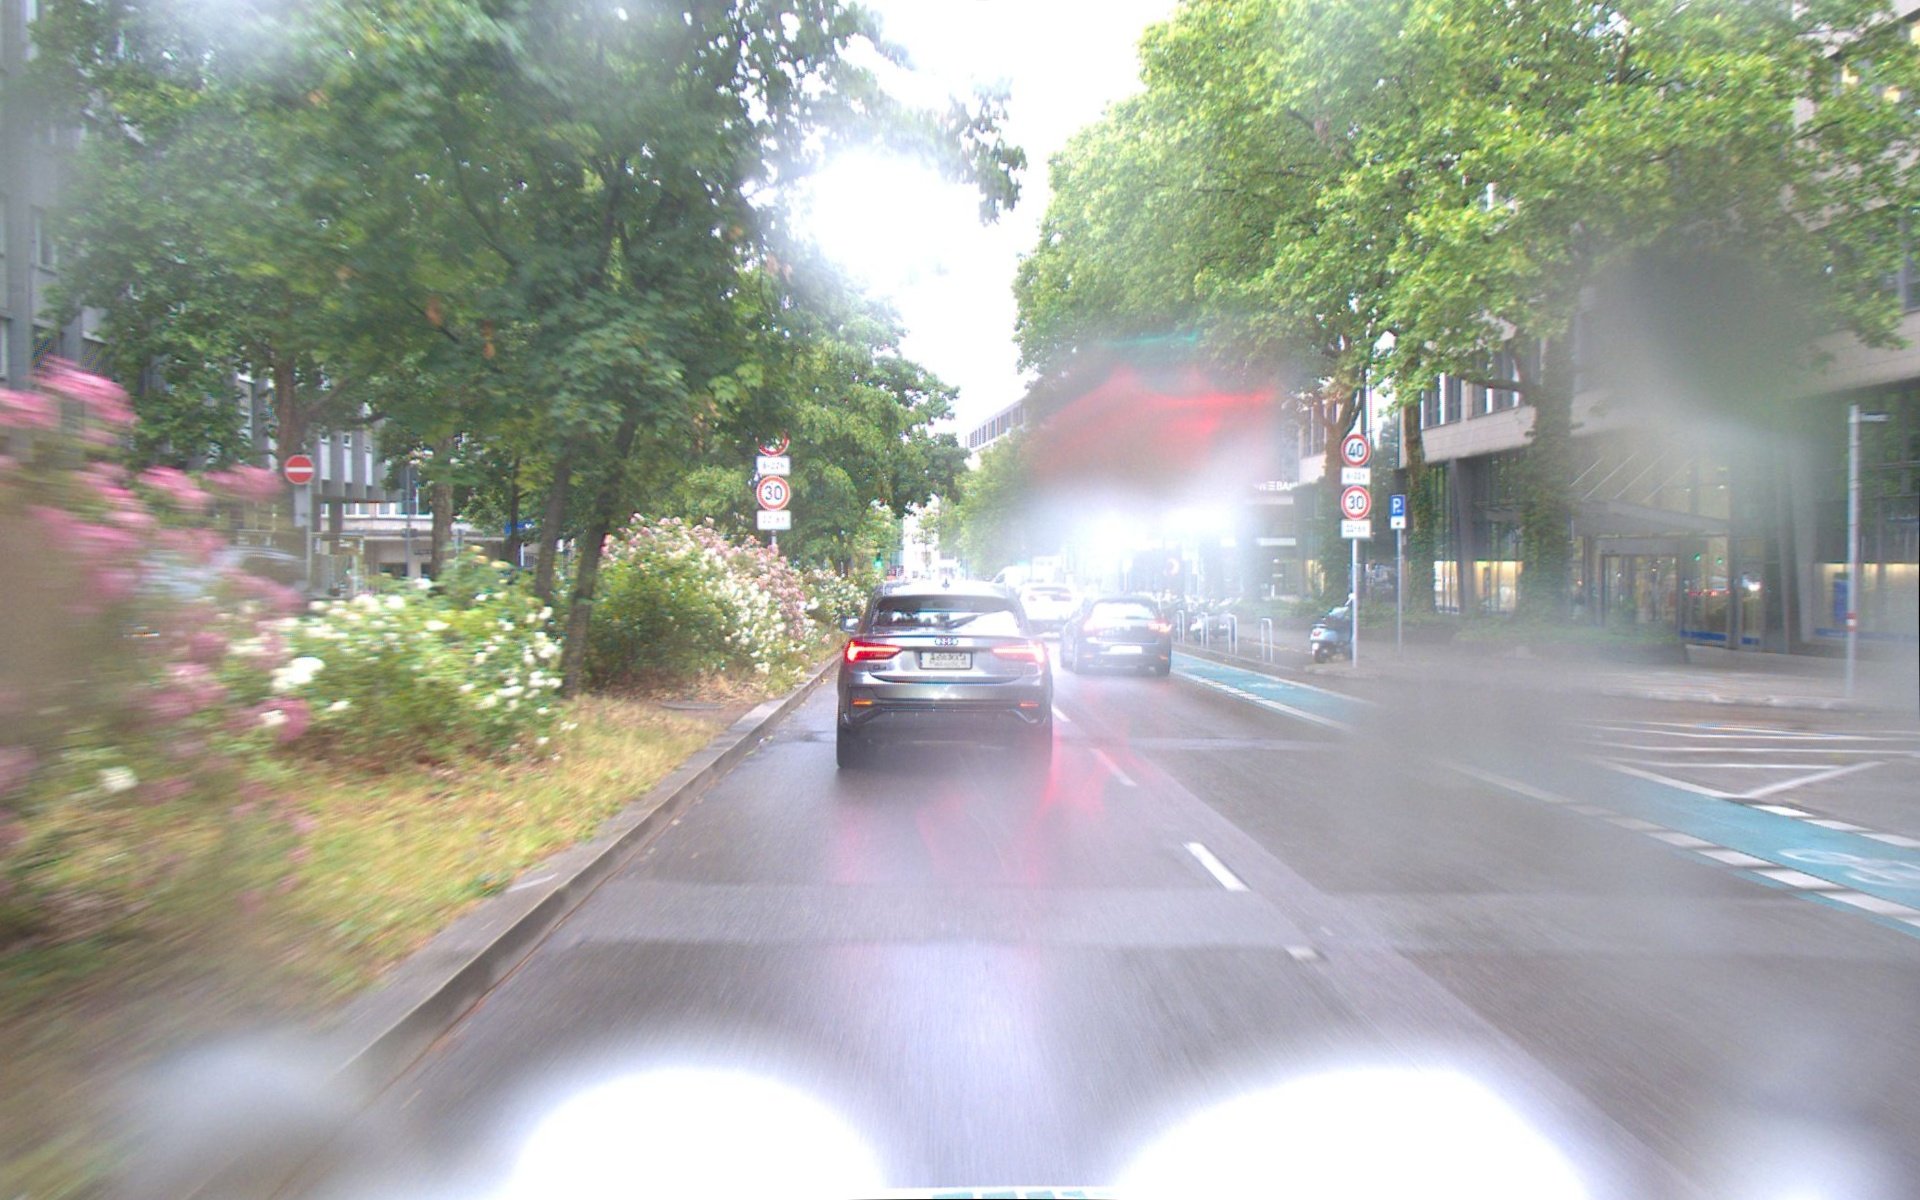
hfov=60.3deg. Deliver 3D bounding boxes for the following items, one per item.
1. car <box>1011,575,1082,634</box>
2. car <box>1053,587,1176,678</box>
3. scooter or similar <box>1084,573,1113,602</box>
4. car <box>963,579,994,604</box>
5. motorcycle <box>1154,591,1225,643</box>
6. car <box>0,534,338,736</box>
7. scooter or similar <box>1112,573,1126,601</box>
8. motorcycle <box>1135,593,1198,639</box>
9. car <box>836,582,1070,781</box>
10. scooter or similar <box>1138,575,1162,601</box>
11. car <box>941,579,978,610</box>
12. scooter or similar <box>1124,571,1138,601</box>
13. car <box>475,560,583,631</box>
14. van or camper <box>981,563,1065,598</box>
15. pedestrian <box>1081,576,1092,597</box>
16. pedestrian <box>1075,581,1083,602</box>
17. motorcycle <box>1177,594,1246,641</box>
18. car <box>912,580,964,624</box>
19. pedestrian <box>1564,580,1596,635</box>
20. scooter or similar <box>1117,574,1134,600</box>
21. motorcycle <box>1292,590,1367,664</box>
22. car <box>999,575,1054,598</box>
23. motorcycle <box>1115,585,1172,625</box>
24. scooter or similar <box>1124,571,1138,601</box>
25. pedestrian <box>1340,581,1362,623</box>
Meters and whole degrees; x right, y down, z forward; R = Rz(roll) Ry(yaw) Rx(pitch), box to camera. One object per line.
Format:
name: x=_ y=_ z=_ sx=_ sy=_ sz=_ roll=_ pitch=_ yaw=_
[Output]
car: x=2.573 y=0.120 z=49.800 sx=1.812 sy=1.698 sz=4.037 roll=0 pitch=1 yaw=-1
car: x=2.816 y=0.553 z=30.872 sx=1.812 sy=1.550 sz=4.037 roll=0 pitch=1 yaw=-1
scooter or similar: x=6.446 y=-0.578 z=76.982 sx=1.262 sy=1.281 sz=0.490 roll=-1 pitch=2 yaw=10
car: x=1.162 y=-0.564 z=105.050 sx=1.812 sy=1.550 sz=4.037 roll=0 pitch=1 yaw=-1
motorcycle: x=6.883 y=0.506 z=49.579 sx=2.026 sy=1.453 sz=0.724 roll=-2 pitch=2 yaw=-23
car: x=-7.535 y=0.274 z=15.795 sx=1.687 sy=1.666 sz=4.014 roll=1 pitch=0 yaw=-1
scooter or similar: x=7.463 y=-0.626 z=77.585 sx=0.478 sy=1.281 sz=1.293 roll=-1 pitch=2 yaw=-1
motorcycle: x=6.739 y=0.512 z=53.971 sx=1.929 sy=1.397 sz=0.724 roll=-2 pitch=2 yaw=-23
car: x=-0.128 y=0.616 z=14.926 sx=1.812 sy=1.550 sz=4.037 roll=0 pitch=1 yaw=-2
scooter or similar: x=8.991 y=-0.545 z=78.259 sx=0.483 sy=1.218 sz=1.279 roll=0 pitch=0 yaw=-32
car: x=-0.054 y=-0.302 z=85.566 sx=1.812 sy=1.550 sz=4.037 roll=0 pitch=1 yaw=-1
scooter or similar: x=7.725 y=-0.635 z=74.682 sx=0.478 sy=1.281 sz=1.293 roll=-1 pitch=2 yaw=-1
car: x=-10.770 y=-0.123 z=41.613 sx=1.687 sy=1.666 sz=4.014 roll=1 pitch=0 yaw=-1
van or camper: x=4.715 y=-1.475 z=123.925 sx=5.945 sy=2.603 sz=2.103 roll=0 pitch=0 yaw=25
pedestrian: x=10.772 y=-1.131 z=140.727 sx=0.789 sy=1.726 sz=1.186 roll=1 pitch=0 yaw=-4
pedestrian: x=10.260 y=-0.727 z=142.861 sx=0.542 sy=1.836 sz=0.761 roll=1 pitch=0 yaw=-5
motorcycle: x=7.188 y=0.506 z=47.211 sx=2.038 sy=1.234 sz=0.676 roll=-3 pitch=0 yaw=-37
car: x=-0.820 y=0.051 z=59.716 sx=1.812 sy=1.550 sz=4.037 roll=0 pitch=1 yaw=-1
pedestrian: x=19.780 y=0.225 z=52.768 sx=0.716 sy=1.722 sz=0.824 roll=0 pitch=1 yaw=41
scooter or similar: x=7.839 y=-0.619 z=78.452 sx=0.479 sy=1.218 sz=1.290 roll=0 pitch=0 yaw=-11
motorcycle: x=7.549 y=0.539 z=33.737 sx=0.672 sy=1.391 sz=1.937 roll=-3 pitch=0 yaw=38
car: x=4.772 y=-0.949 z=117.981 sx=3.572 sy=1.574 sz=1.716 roll=1 pitch=1 yaw=18
motorcycle: x=6.730 y=0.179 z=60.732 sx=1.925 sy=1.397 sz=0.725 roll=-2 pitch=2 yaw=-18
scooter or similar: x=7.725 y=-0.635 z=74.682 sx=0.478 sy=1.281 sz=1.293 roll=-1 pitch=2 yaw=-1
pedestrian: x=17.571 y=0.083 z=74.338 sx=0.808 sy=1.835 sz=0.729 roll=0 pitch=0 yaw=1
